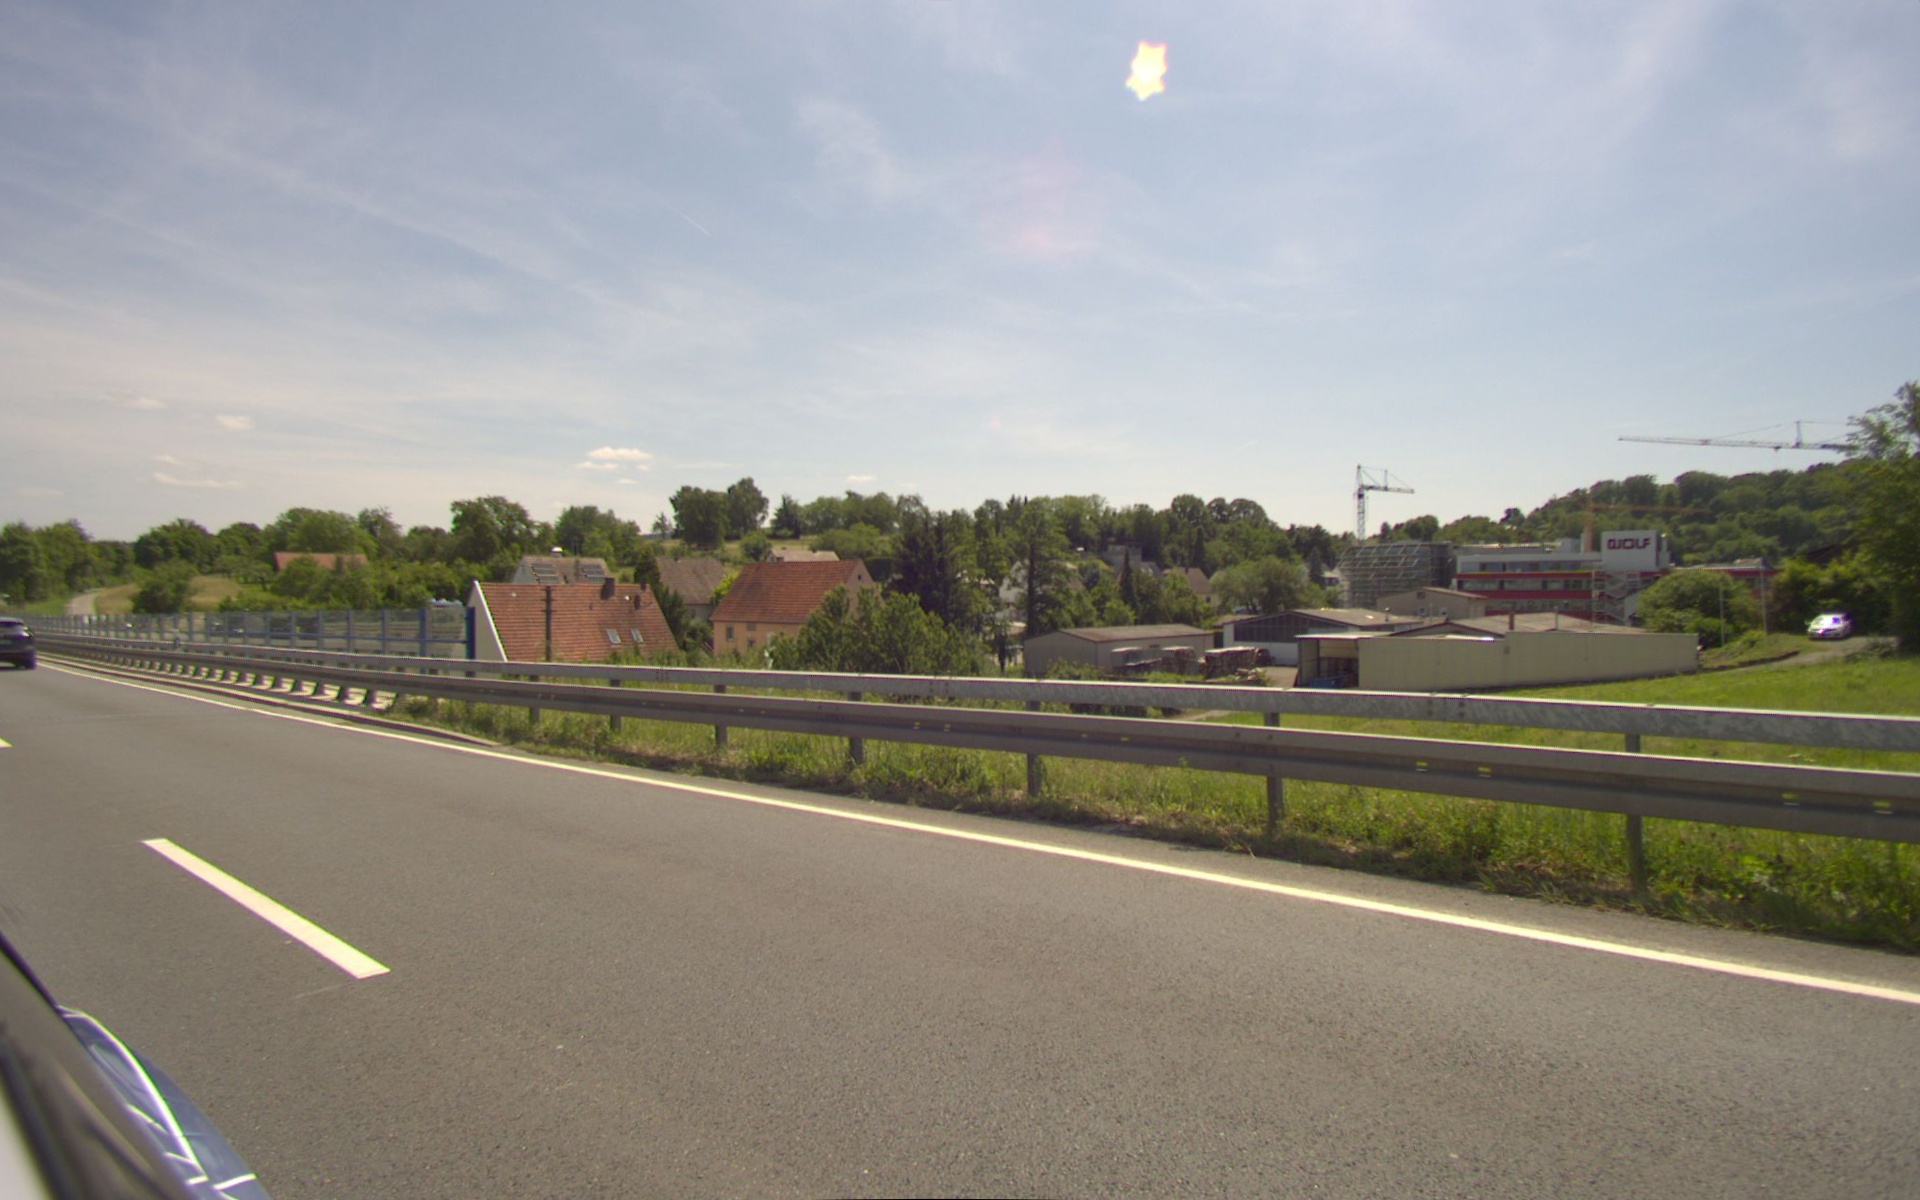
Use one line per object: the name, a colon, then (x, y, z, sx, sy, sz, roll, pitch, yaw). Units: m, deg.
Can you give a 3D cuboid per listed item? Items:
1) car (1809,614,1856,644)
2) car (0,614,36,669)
car: (55.441, 1.833, 64.317, 3.941, 1.615, 1.833, -3, -3, -44)
car: (-30.558, 1.285, 31.685, 4.369, 1.623, 1.846, -1, -2, 40)
